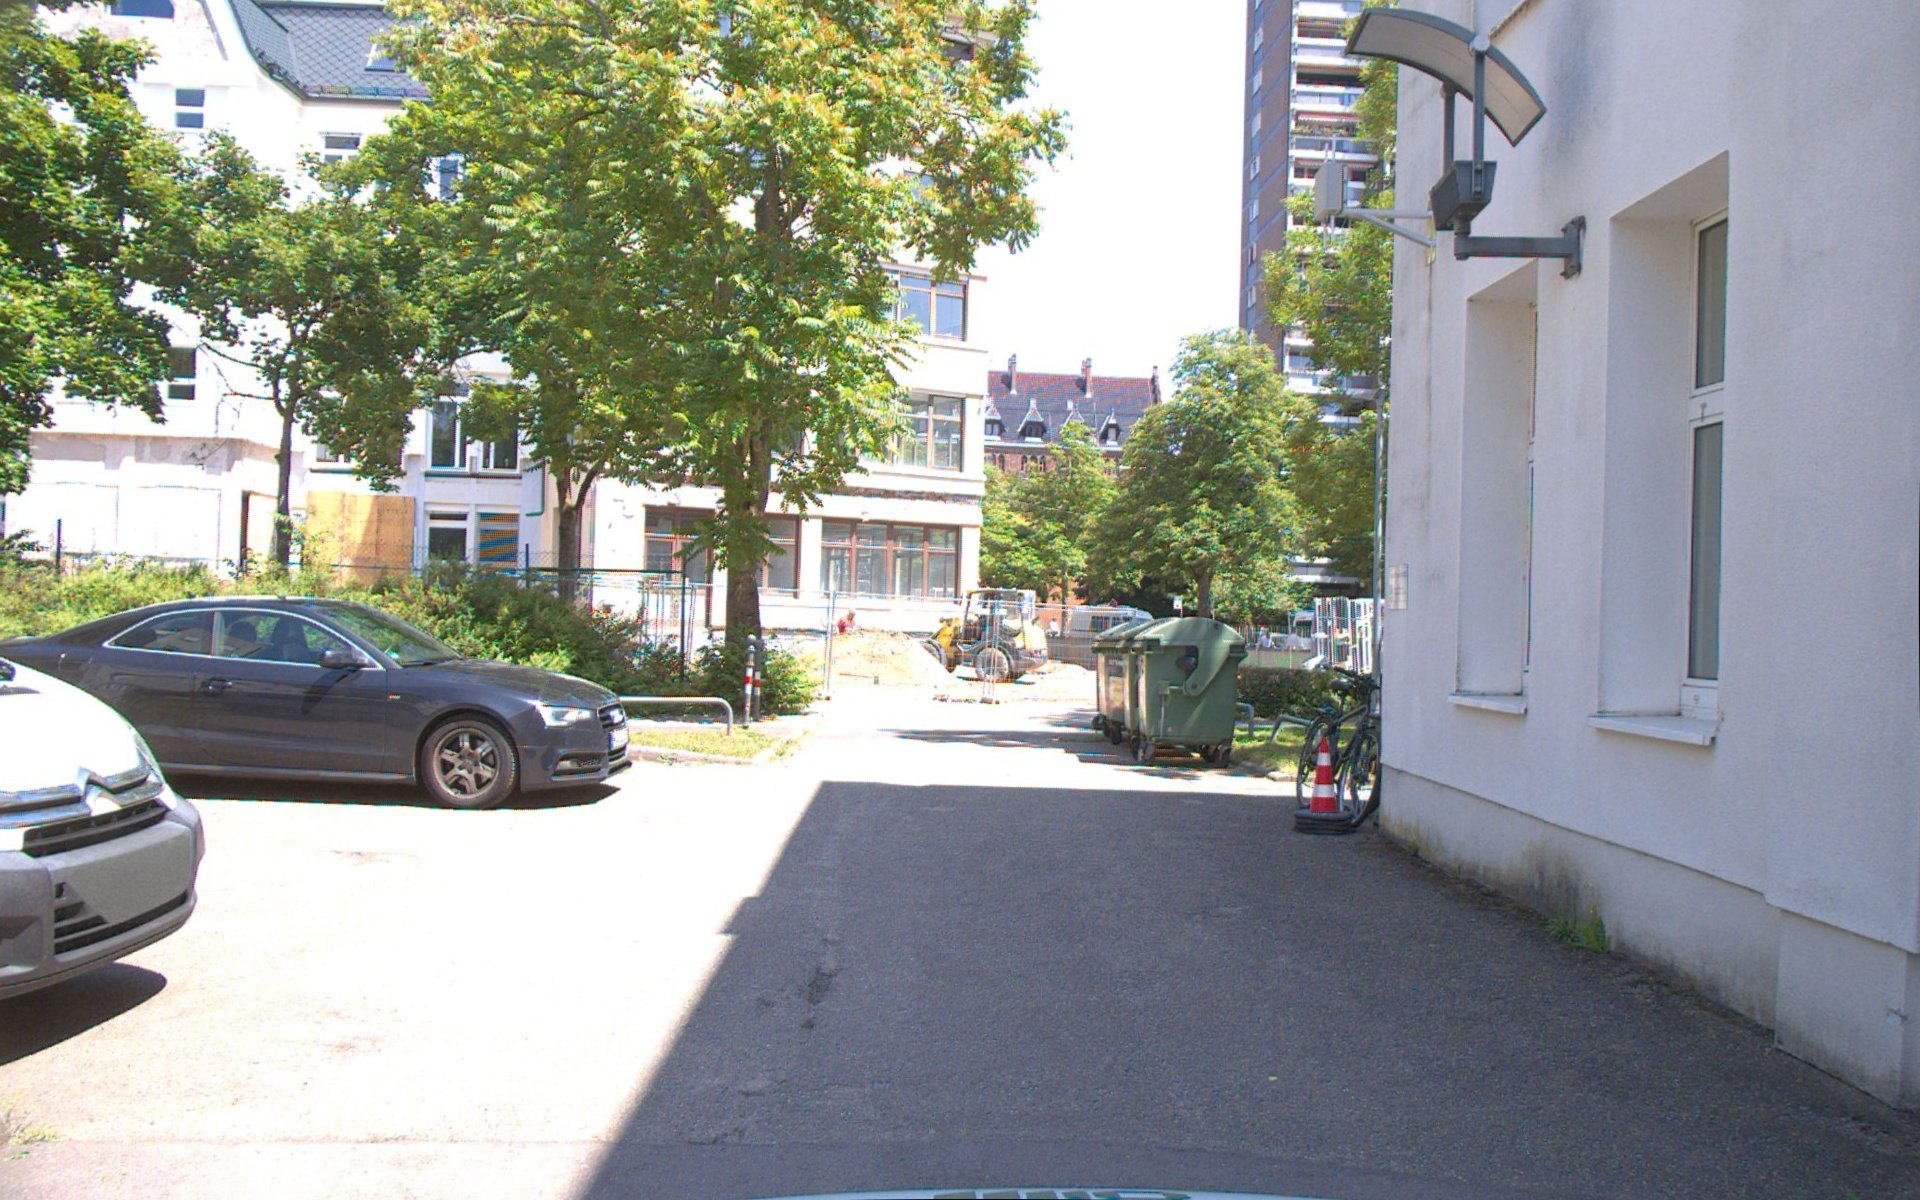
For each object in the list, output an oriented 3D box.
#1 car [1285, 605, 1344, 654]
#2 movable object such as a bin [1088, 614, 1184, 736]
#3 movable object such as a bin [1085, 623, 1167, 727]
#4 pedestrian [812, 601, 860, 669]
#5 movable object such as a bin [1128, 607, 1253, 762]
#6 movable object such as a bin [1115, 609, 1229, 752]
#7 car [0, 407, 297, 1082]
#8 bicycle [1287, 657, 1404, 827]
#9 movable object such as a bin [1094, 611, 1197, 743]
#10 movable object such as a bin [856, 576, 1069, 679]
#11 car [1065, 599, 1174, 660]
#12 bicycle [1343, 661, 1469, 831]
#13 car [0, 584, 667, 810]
[{"bbox_3d":[17.657,1.494,82.146,2.139,2.298,4.869,1,-1,20],"label":"car"},{"bbox_3d":[2.226,0.946,21.128,1.053,1.483,1.377,1,-1,0],"label":"movable object such as a bin"},{"bbox_3d":[2.460,1.102,24.636,1.053,1.483,1.377,1,-1,0],"label":"movable object such as a bin"},{"bbox_3d":[-3.474,0.984,46.415,0.969,1.879,0.911,0,-2,44],"label":"pedestrian"},{"bbox_3d":[2.316,0.839,16.794,1.053,1.483,1.377,1,-1,0],"label":"movable object such as a bin"},{"bbox_3d":[2.317,0.870,18.237,1.053,1.483,1.377,1,-1,0],"label":"movable object such as a bin"},{"bbox_3d":[-5.070,0.376,5.587,4.747,1.916,2.067,1,-1,1],"label":"car"},{"bbox_3d":[2.809,0.996,12.173,0.397,1.121,1.826,1,-1,-1],"label":"bicycle"},{"bbox_3d":[2.190,0.899,19.706,1.053,1.483,1.377,1,-1,0],"label":"movable object such as a bin"},{"bbox_3d":[0.058,0.739,45.672,5.300,2.507,2.364,3,-1,28],"label":"movable object such as a bin"},{"bbox_3d":[6.687,1.218,69.974,1.972,2.459,5.191,2,-1,-29],"label":"car"},{"bbox_3d":[3.266,1.033,12.234,0.397,1.121,1.826,1,-1,-1],"label":"bicycle"},{"bbox_3d":[-4.529,0.664,12.097,4.338,1.404,2.024,1,-1,1],"label":"car"}]
